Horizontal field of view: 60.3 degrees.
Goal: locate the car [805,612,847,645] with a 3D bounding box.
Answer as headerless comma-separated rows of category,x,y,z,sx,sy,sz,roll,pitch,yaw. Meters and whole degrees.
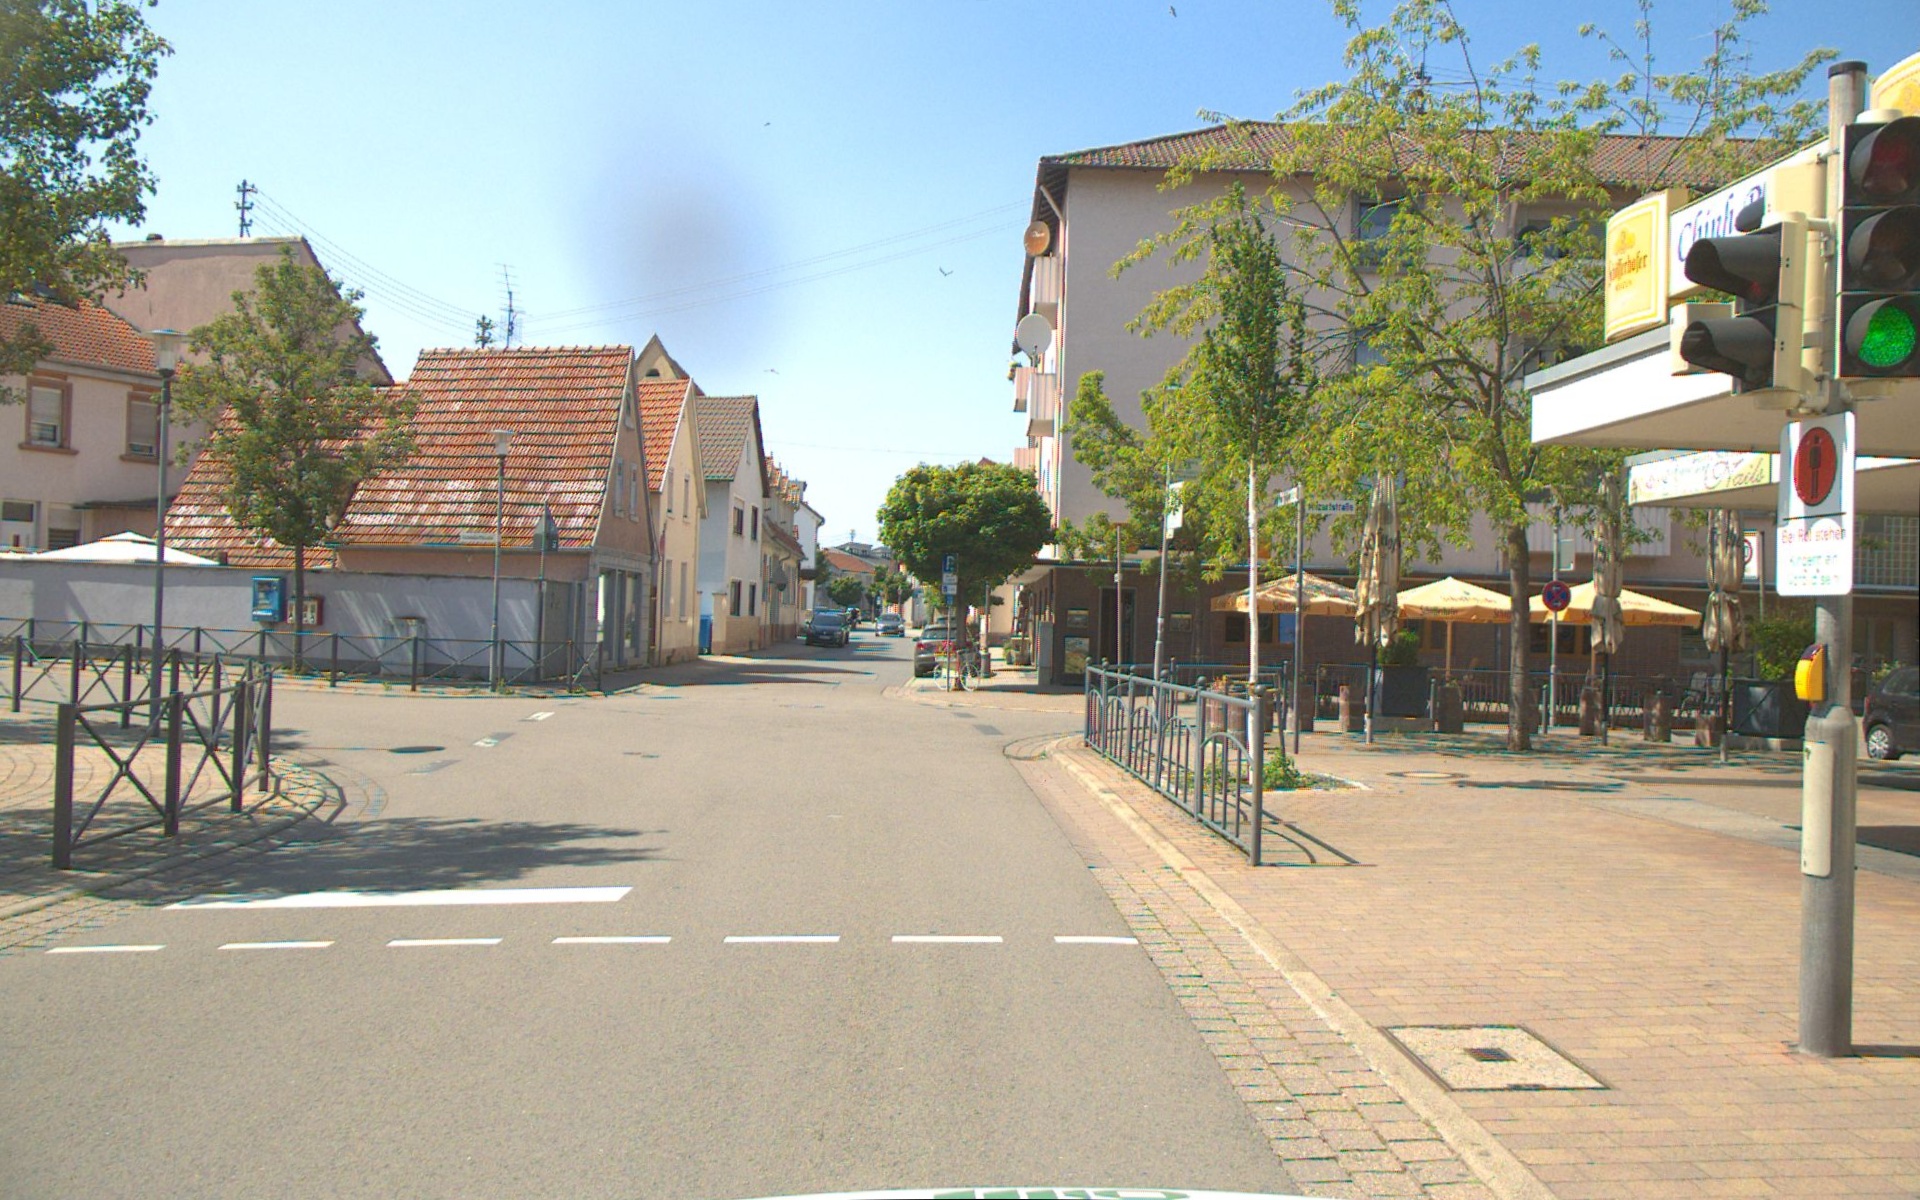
car,-6.233,1.314,77.181,1.629,1.502,4.133,1,-1,-1

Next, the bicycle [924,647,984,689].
bicycle,-0.141,1.546,37.595,1.386,0.913,0.463,0,-1,37

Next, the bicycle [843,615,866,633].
bicycle,-8.247,1.879,129.278,1.592,1.395,3.920,1,-1,-6

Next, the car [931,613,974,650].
car,-0.347,1.495,80.087,2.001,1.718,4.841,1,-1,0

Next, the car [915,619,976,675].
car,-0.367,1.279,46.222,1.543,1.479,3.486,1,-1,1

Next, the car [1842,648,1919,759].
car,14.259,1.473,22.833,1.733,1.536,3.966,2,-1,-6

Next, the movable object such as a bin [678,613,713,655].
movable object such as a bin,-8.916,1.144,55.743,1.078,1.389,0.390,1,-1,3

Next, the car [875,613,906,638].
car,-4.421,1.626,105.621,1.871,1.507,4.841,1,-1,-2

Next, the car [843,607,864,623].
car,-11.679,1.659,181.556,1.985,1.626,4.508,1,-1,0

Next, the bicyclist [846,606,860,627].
bicyclist,-8.330,1.276,128.939,1.026,1.666,1.127,1,-1,-6
